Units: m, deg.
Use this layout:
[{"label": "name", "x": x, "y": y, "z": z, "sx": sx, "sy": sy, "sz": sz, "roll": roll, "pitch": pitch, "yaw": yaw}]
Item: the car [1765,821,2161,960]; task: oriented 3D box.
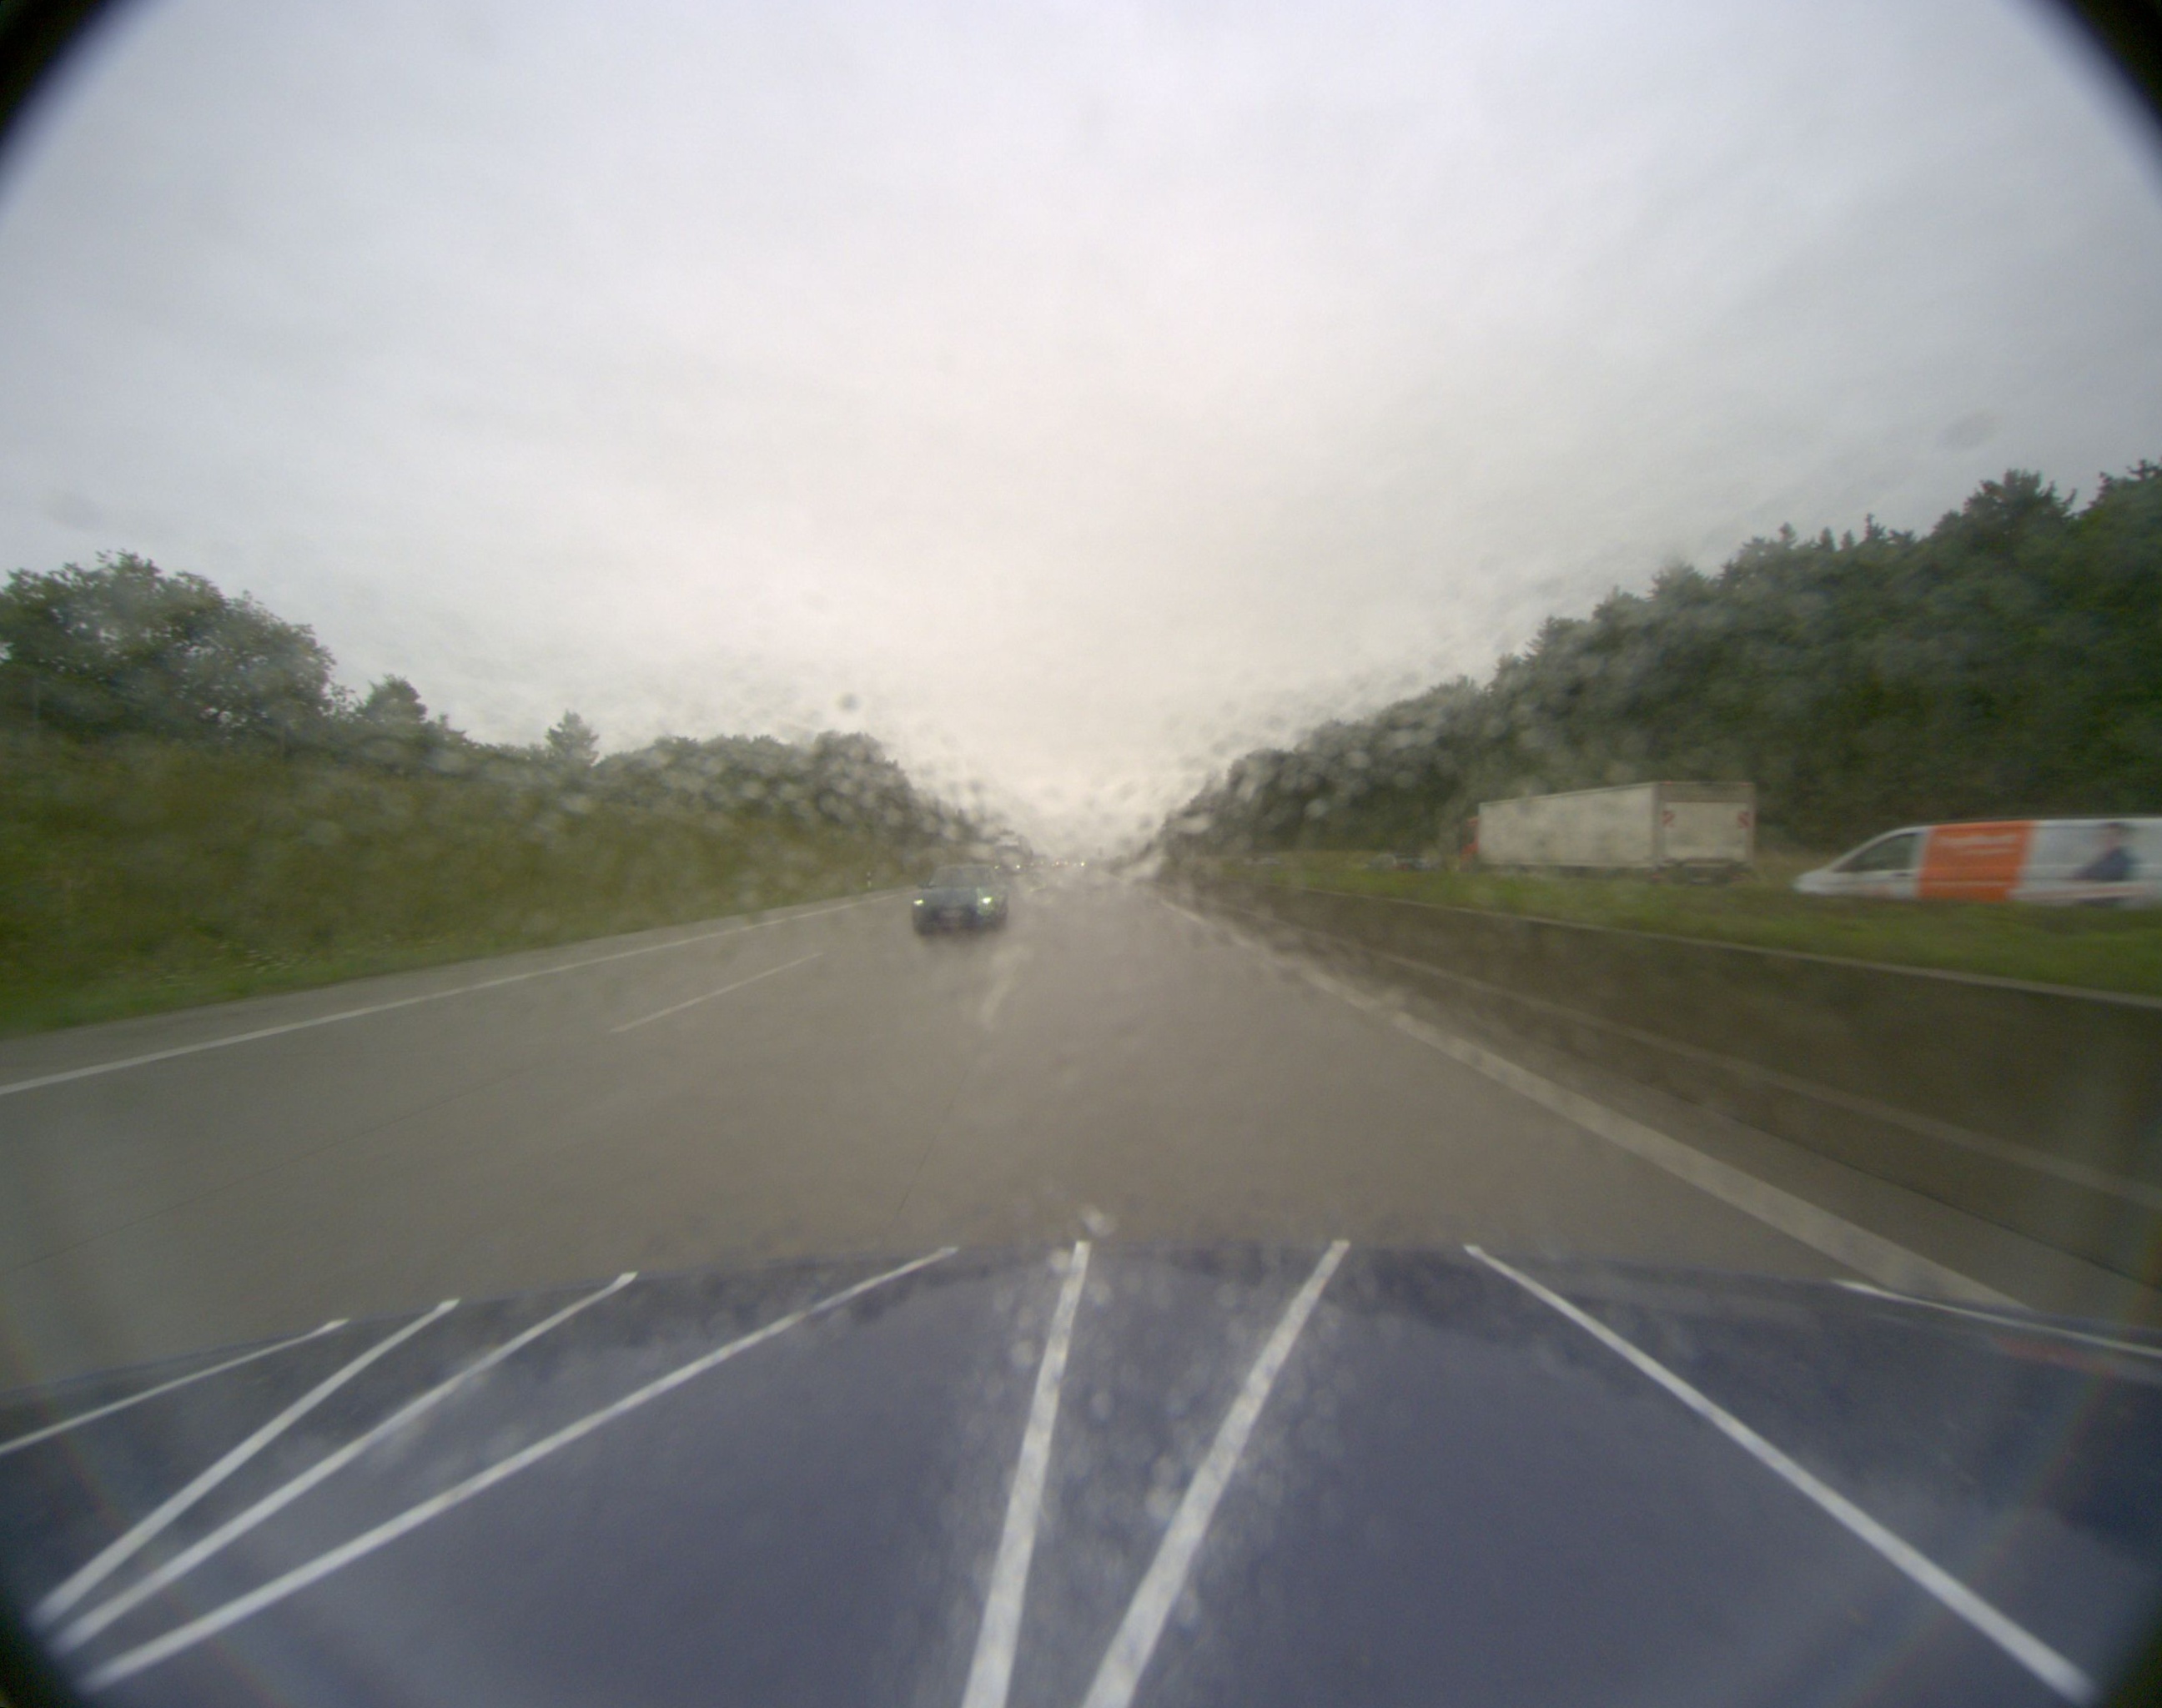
[{"label": "car", "x": 13.608, "y": 0.445, "z": 10.997, "sx": 2.115, "sy": 1.621, "sz": 5.851, "roll": 0, "pitch": -1, "yaw": -1}]

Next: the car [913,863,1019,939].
[{"label": "car", "x": -2.531, "y": 0.982, "z": 17.823, "sx": 1.733, "sy": 1.450, "sz": 4.672, "roll": -1, "pitch": 0, "yaw": 0}]

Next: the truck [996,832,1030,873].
[{"label": "truck", "x": -6.803, "y": -0.088, "z": 76.964, "sx": 2.643, "sy": 3.930, "sz": 5.687, "roll": -3, "pitch": -1, "yaw": 1}]

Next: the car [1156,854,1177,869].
[{"label": "car", "x": 9.159, "y": 0.807, "z": 81.424, "sx": 1.656, "sy": 1.533, "sz": 4.454, "roll": -1, "pitch": 0, "yaw": -1}]

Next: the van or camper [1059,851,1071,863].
[{"label": "van or camper", "x": -3.373, "y": 0.680, "z": 163.185, "sx": 2.233, "sy": 2.537, "sz": 7.950, "roll": -1, "pitch": 0, "yaw": 1}]

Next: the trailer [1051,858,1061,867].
[{"label": "trailer", "x": -6.924, "y": 2.387, "z": 212.411, "sx": 2.348, "sy": 2.444, "sz": 5.941, "roll": -1, "pitch": -1, "yaw": 1}]

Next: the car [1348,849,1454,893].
[{"label": "car", "x": 12.774, "y": 0.623, "z": 30.782, "sx": 1.995, "sy": 1.622, "sz": 5.382, "roll": -1, "pitch": 0, "yaw": -1}]

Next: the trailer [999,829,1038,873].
[{"label": "trailer", "x": -6.772, "y": -0.231, "z": 84.765, "sx": 2.713, "sy": 4.353, "sz": 15.206, "roll": -3, "pitch": -1, "yaw": 0}]

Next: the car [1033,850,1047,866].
[{"label": "car", "x": -7.351, "y": 0.720, "z": 137.142, "sx": 1.945, "sy": 2.642, "sz": 6.588, "roll": -1, "pitch": -1, "yaw": 1}]

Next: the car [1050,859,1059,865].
[{"label": "car", "x": -7.163, "y": 2.208, "z": 206.483, "sx": 1.998, "sy": 1.575, "sz": 5.955, "roll": -3, "pitch": -1, "yaw": 1}]

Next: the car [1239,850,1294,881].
[{"label": "car", "x": 9.543, "y": 0.583, "z": 39.398, "sx": 1.732, "sy": 1.471, "sz": 4.454, "roll": -1, "pitch": 0, "yaw": -1}]

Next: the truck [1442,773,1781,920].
[{"label": "truck", "x": 16.898, "y": -0.104, "z": 26.194, "sx": 2.910, "sy": 3.833, "sz": 12.451, "roll": -1, "pitch": -1, "yaw": 0}]

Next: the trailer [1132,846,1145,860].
[{"label": "trailer", "x": 16.204, "y": -0.184, "z": 215.240, "sx": 2.671, "sy": 3.948, "sz": 11.136, "roll": -1, "pitch": 0, "yaw": 0}]
